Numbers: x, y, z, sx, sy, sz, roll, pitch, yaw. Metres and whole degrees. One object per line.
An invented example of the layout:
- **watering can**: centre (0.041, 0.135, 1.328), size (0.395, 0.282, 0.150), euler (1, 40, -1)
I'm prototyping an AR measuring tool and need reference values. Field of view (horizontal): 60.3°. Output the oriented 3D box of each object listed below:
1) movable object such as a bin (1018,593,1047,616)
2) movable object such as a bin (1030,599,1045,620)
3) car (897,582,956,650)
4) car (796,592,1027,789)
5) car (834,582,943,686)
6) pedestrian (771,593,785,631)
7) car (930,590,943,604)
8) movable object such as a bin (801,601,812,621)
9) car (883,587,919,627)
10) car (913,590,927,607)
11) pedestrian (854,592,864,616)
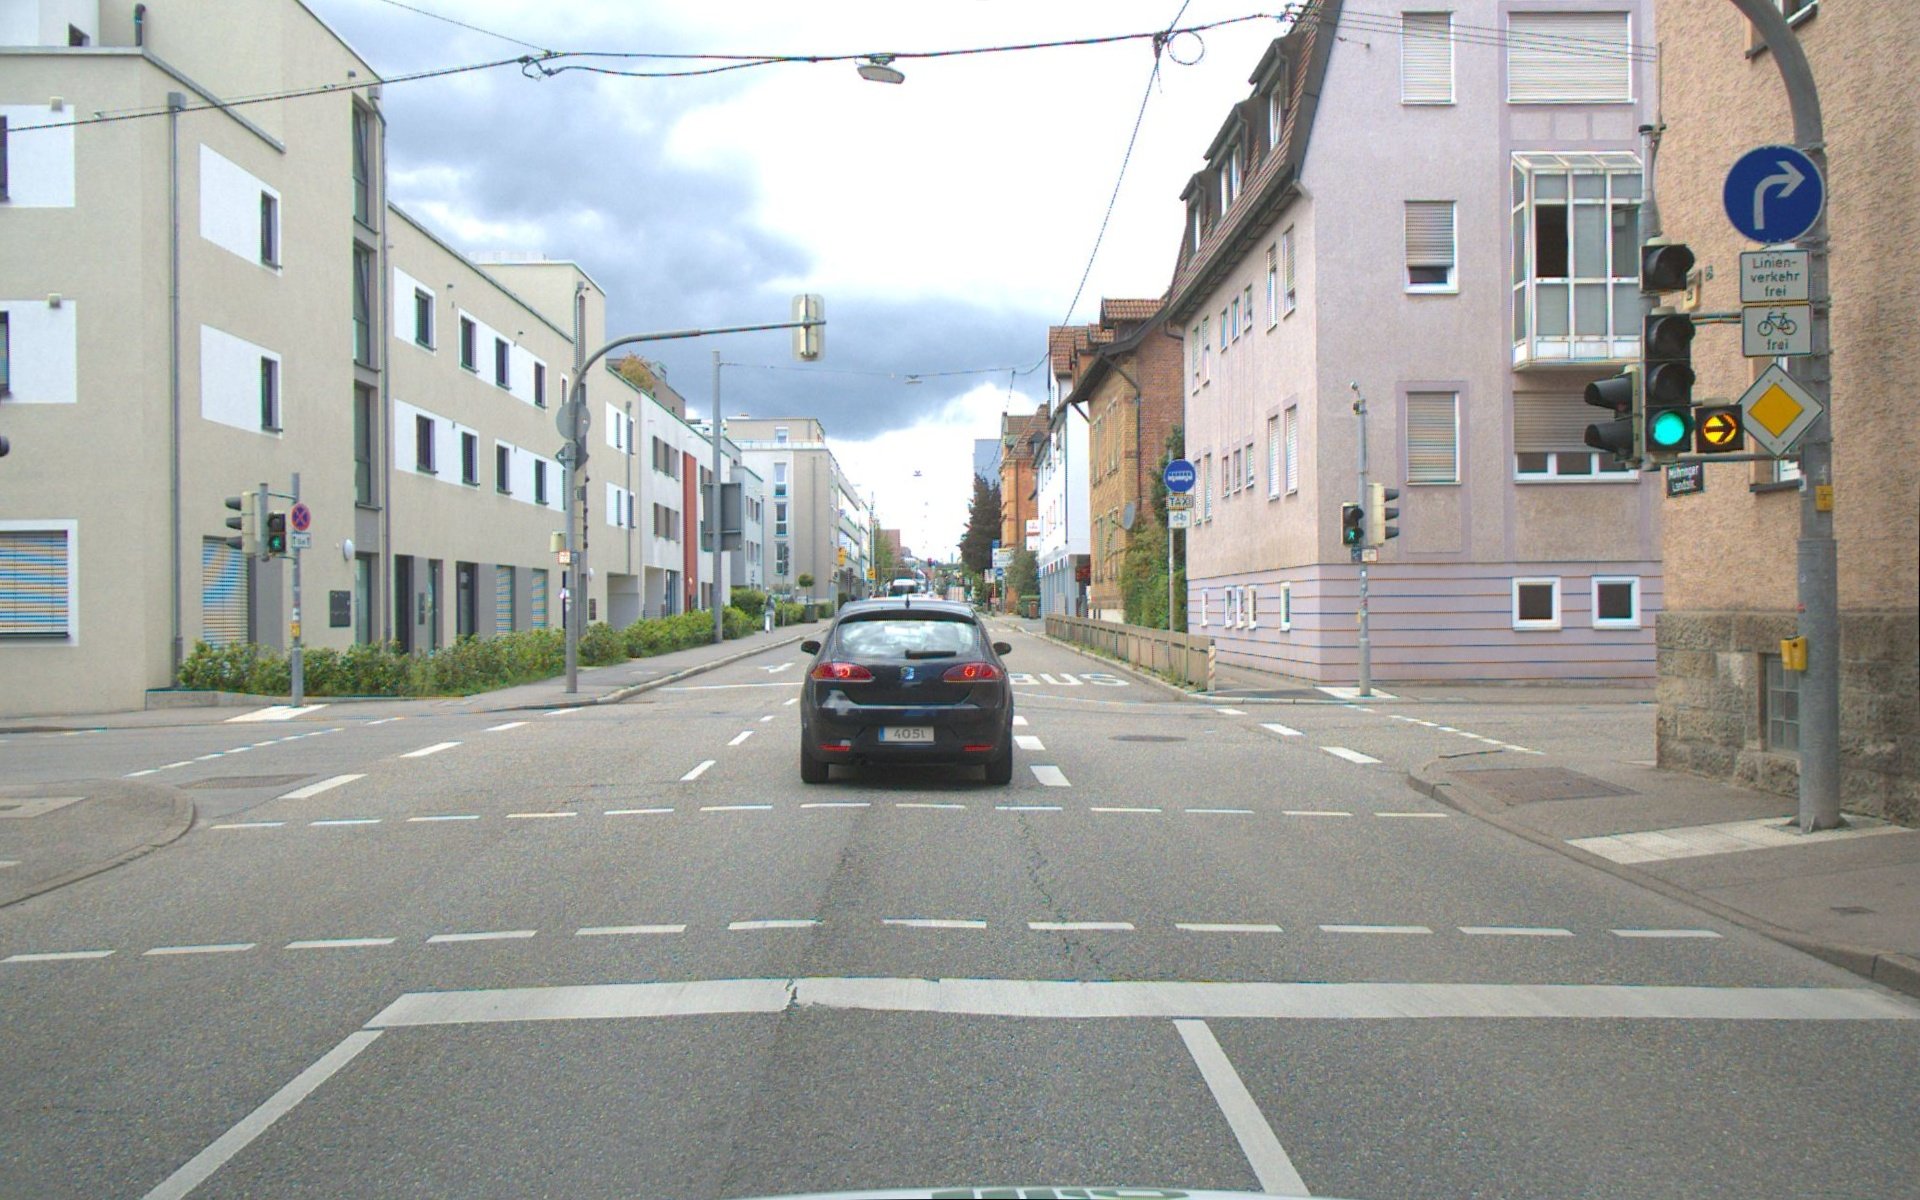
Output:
- **movable object such as a bin**: centre (4.754, 0.294, 108.637), size (1.781, 1.462, 1.992), euler (0, 0, 0)
- **movable object such as a bin**: centre (4.862, 0.572, 104.145), size (0.909, 1.306, 0.883), euler (0, -1, 0)
- **car**: centre (-0.891, 0.406, 43.931), size (1.500, 1.723, 3.692), euler (0, 0, -1)
- **car**: centre (-0.393, 0.693, 14.411), size (1.723, 1.467, 3.999), euler (0, 0, -1)
- **car**: centre (-1.231, 0.578, 29.647), size (1.805, 1.723, 3.999), euler (0, 0, -1)
- **pedestrian**: centre (-7.516, 0.490, 68.178), size (0.516, 1.575, 0.541), euler (0, -1, -1)
- **car**: centre (-2.807, -0.358, 197.221), size (1.500, 1.722, 3.692), euler (-1, 0, -1)
- **movable object such as a bin**: centre (-8.479, 0.605, 91.121), size (0.538, 1.097, 0.611), euler (0, -1, 0)
- **car**: centre (-2.597, 0.306, 73.346), size (1.500, 1.723, 3.692), euler (0, 0, -1)
- **car**: centre (-4.112, -0.206, 170.386), size (1.500, 1.722, 3.692), euler (-1, 0, -1)
- **pedestrian**: centre (-7.558, 0.312, 124.193), size (0.716, 1.759, 0.859), euler (0, -1, -2)
